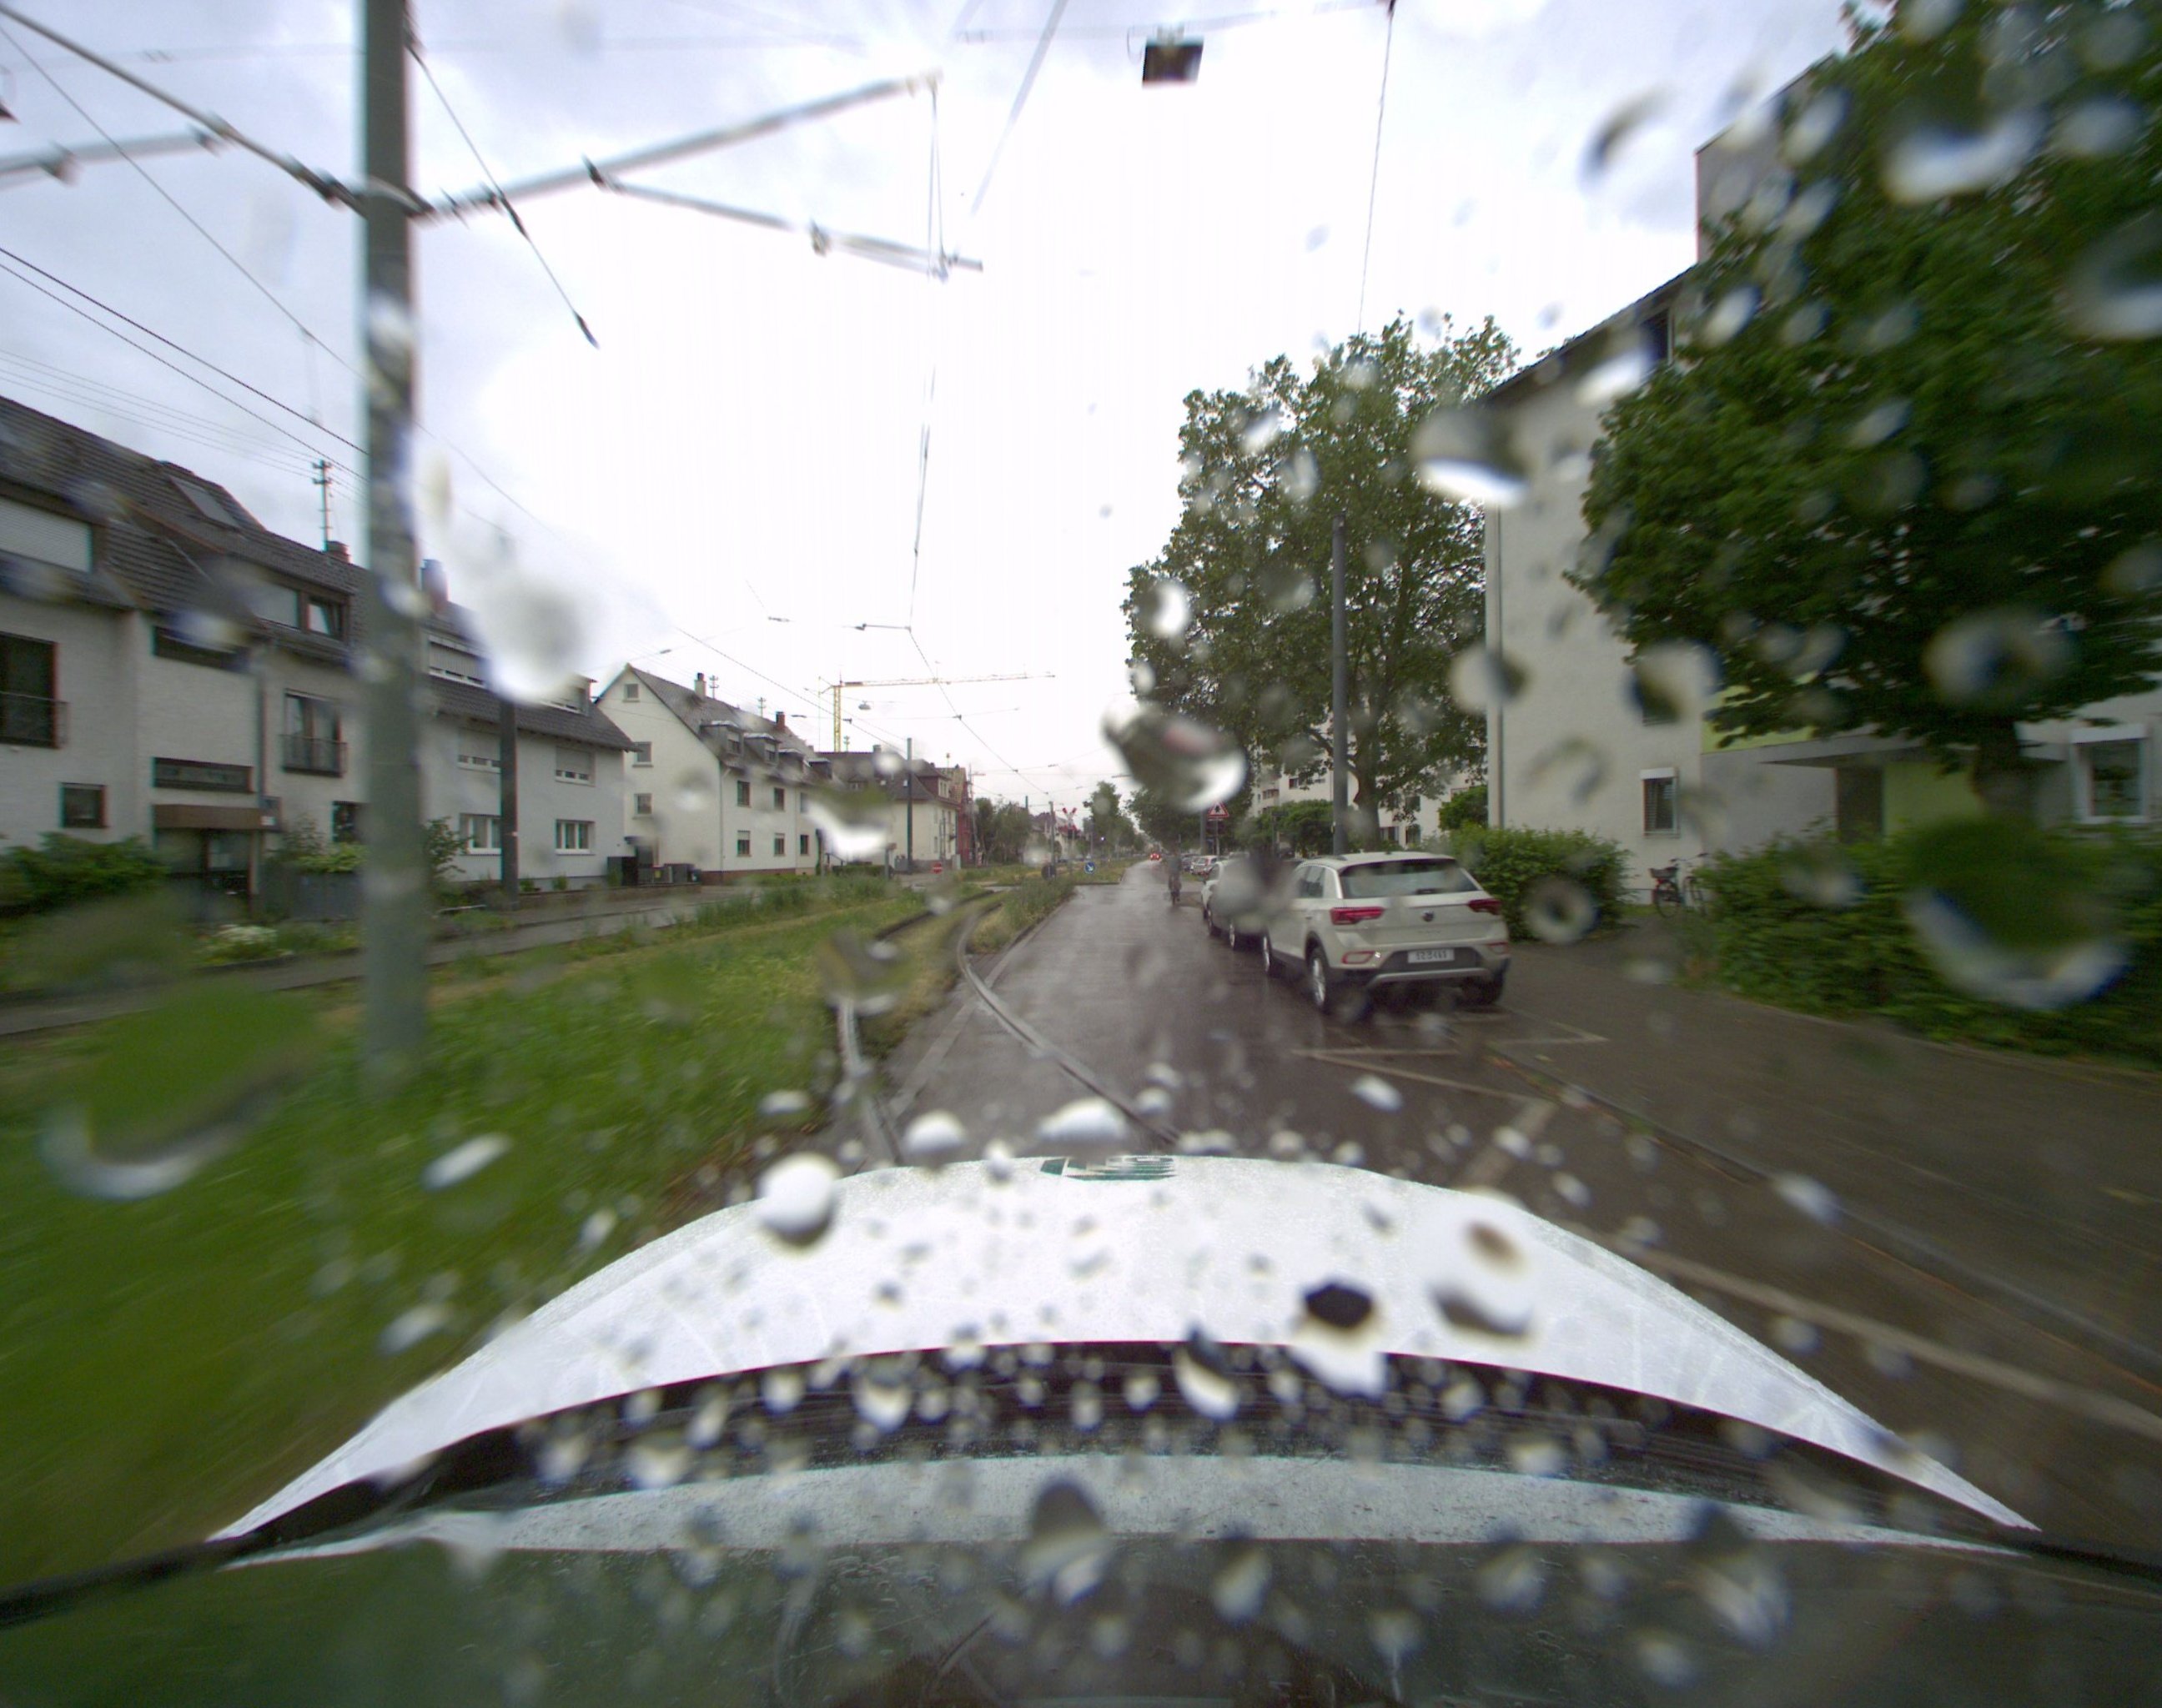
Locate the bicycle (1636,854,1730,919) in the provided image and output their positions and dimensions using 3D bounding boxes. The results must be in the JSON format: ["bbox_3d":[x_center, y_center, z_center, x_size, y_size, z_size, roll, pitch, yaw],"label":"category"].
[{"bbox_3d":[11.217,0.587,15.156,1.863,1.141,0.529,0,0,-23],"label":"bicycle"}]

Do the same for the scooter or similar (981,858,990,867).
[{"bbox_3d":[-11.587,1.049,98.812,0.436,1.129,1.291,-1,0,34],"label":"scooter or similar"}]

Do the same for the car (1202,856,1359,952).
[{"bbox_3d":[3.416,0.782,14.770,1.893,1.449,4.185,-1,0,1],"label":"car"}]

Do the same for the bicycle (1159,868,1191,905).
[{"bbox_3d":[3.070,1.050,26.819,0.806,1.097,2.518,-1,0,2],"label":"bicycle"}]

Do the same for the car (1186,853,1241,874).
[{"bbox_3d":[10.032,0.710,61.655,4.017,1.508,1.687,-1,-2,-35],"label":"car"}]

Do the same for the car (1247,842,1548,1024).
[{"bbox_3d":[3.235,0.703,9.306,1.893,1.575,4.112,-1,0,1],"label":"car"}]

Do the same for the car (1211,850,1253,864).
[{"bbox_3d":[18.991,0.365,102.188,4.804,1.745,1.993,-1,0,-11],"label":"car"}]

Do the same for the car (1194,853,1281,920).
[{"bbox_3d":[3.881,0.743,20.775,1.552,1.519,4.001,-1,0,2],"label":"car"}]

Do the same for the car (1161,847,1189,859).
[{"bbox_3d":[15.607,-0.111,135.396,4.157,1.719,1.983,-4,1,-27],"label":"car"}]

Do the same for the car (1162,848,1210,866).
[{"bbox_3d":[9.900,0.272,76.595,4.370,1.651,1.837,-1,0,-37],"label":"car"}]

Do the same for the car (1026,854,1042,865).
[{"bbox_3d":[-7.387,0.826,127.673,1.701,1.542,4.430,2,0,7],"label":"car"}]

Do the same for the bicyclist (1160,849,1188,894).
[{"bbox_3d":[3.056,0.559,26.805,0.806,1.433,1.060,-1,0,2],"label":"bicyclist"}]

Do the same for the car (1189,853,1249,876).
[{"bbox_3d":[9.878,0.742,58.309,4.014,1.508,1.766,-1,-2,-32],"label":"car"}]

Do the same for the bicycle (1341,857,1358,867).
[{"bbox_3d":[23.277,0.724,70.719,0.491,0.848,1.561,-1,0,-21],"label":"bicycle"}]

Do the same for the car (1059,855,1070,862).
[{"bbox_3d":[-3.196,0.929,156.843,1.655,1.244,4.078,2,0,6],"label":"car"}]

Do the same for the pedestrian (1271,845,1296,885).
[{"bbox_3d":[9.290,0.504,37.394,1.091,1.813,1.439,-1,0,14],"label":"pedestrian"}]

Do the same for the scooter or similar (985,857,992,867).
[{"bbox_3d":[-11.549,1.004,101.922,0.390,1.180,1.289,-1,0,20],"label":"scooter or similar"}]

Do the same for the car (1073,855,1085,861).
[{"bbox_3d":[-0.419,0.859,182.649,1.886,1.244,4.699,2,0,9],"label":"car"}]

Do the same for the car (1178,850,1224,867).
[{"bbox_3d":[10.865,0.439,73.585,4.018,1.429,1.715,-1,0,-37],"label":"car"}]
